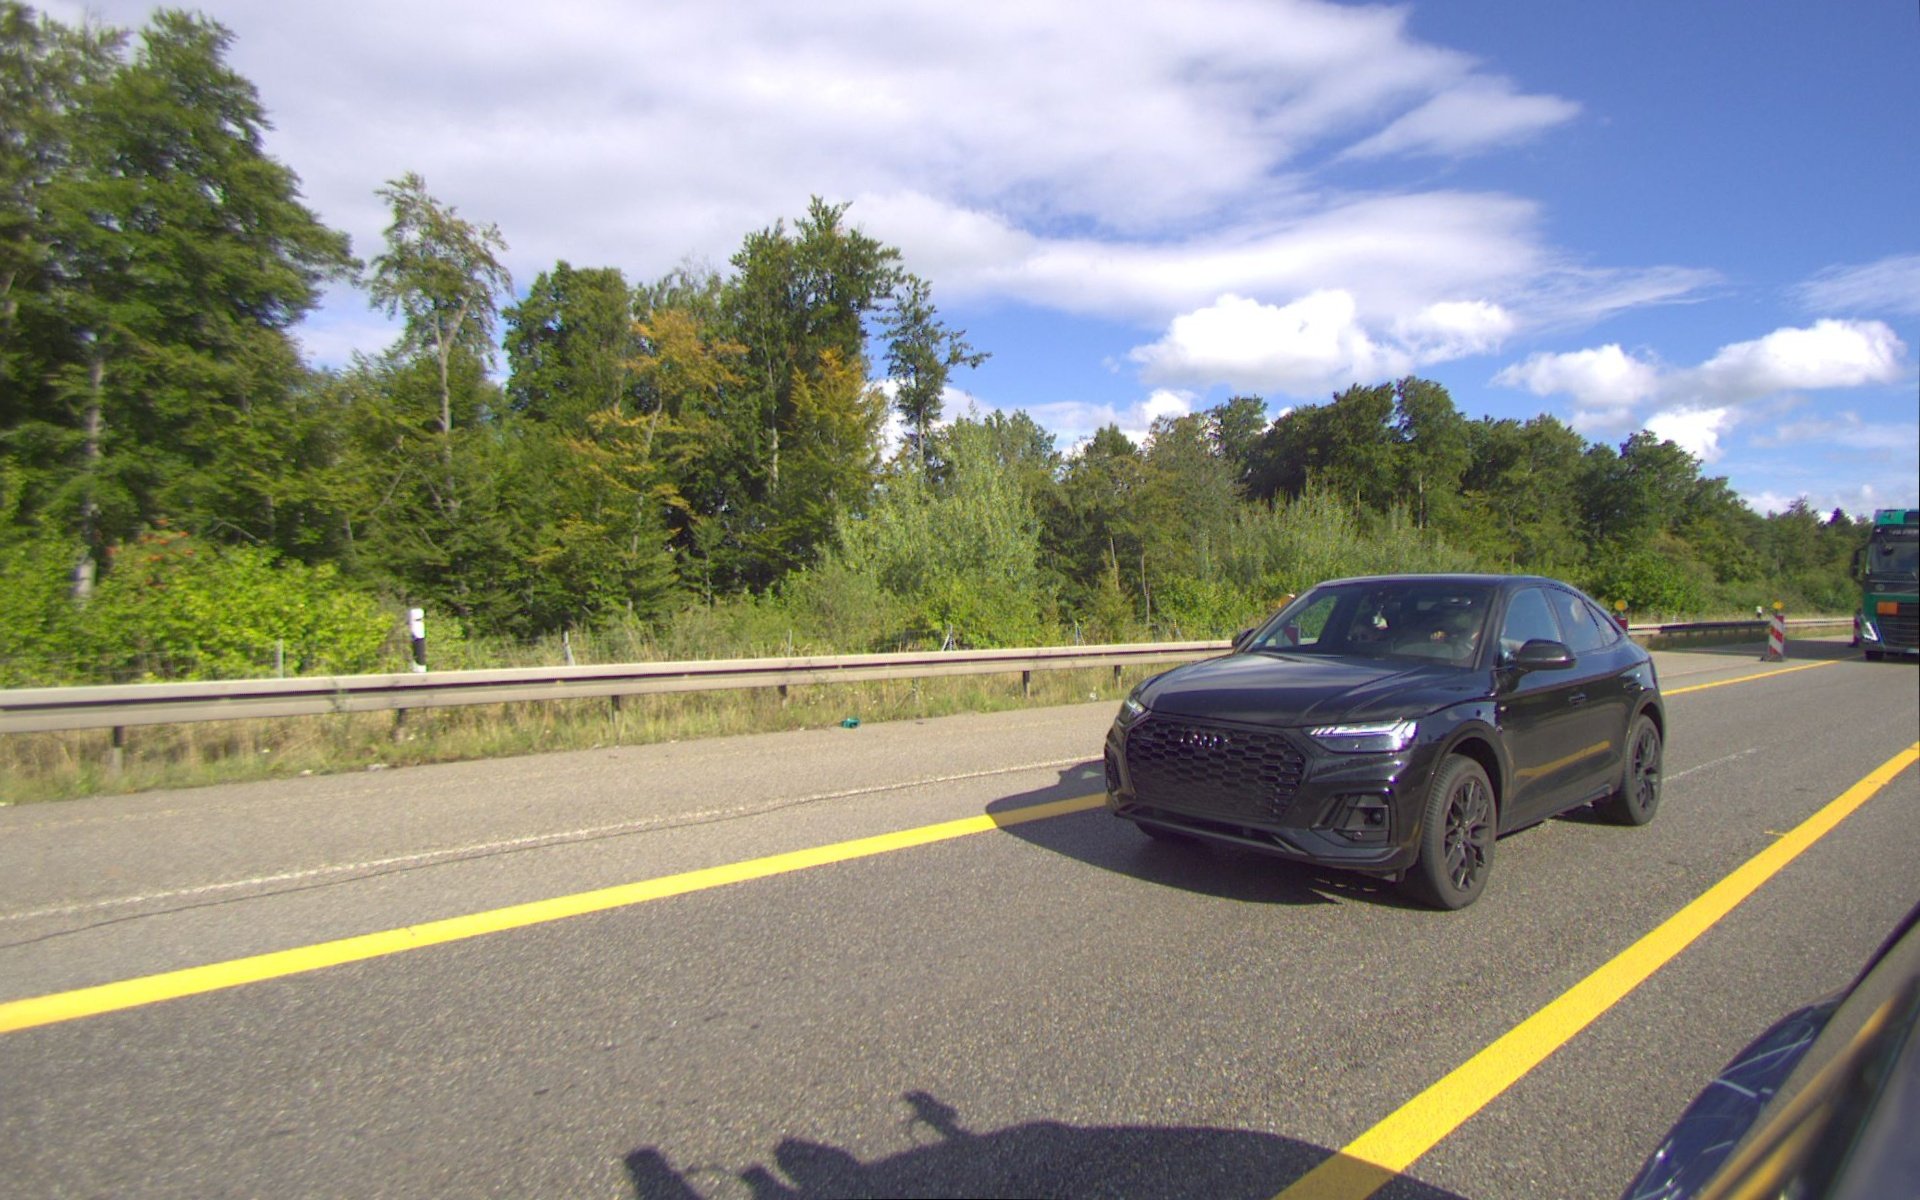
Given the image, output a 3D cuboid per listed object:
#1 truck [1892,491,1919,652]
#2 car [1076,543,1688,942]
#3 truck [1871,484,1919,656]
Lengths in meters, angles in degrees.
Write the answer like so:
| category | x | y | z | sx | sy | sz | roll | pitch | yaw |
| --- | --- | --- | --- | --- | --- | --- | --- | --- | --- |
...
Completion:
| category | x | y | z | sx | sy | sz | roll | pitch | yaw |
| --- | --- | --- | --- | --- | --- | --- | --- | --- | --- |
| truck | 30.807 | -0.695 | 30.352 | 13.957 | 4.196 | 2.469 | 0 | -1 | -40 |
| car | 2.796 | 0.562 | 6.195 | 4.219 | 1.623 | 1.781 | -1 | 0 | -41 |
| truck | 26.003 | -0.743 | 26.301 | 6.735 | 4.151 | 2.526 | 0 | 0 | -40 |
